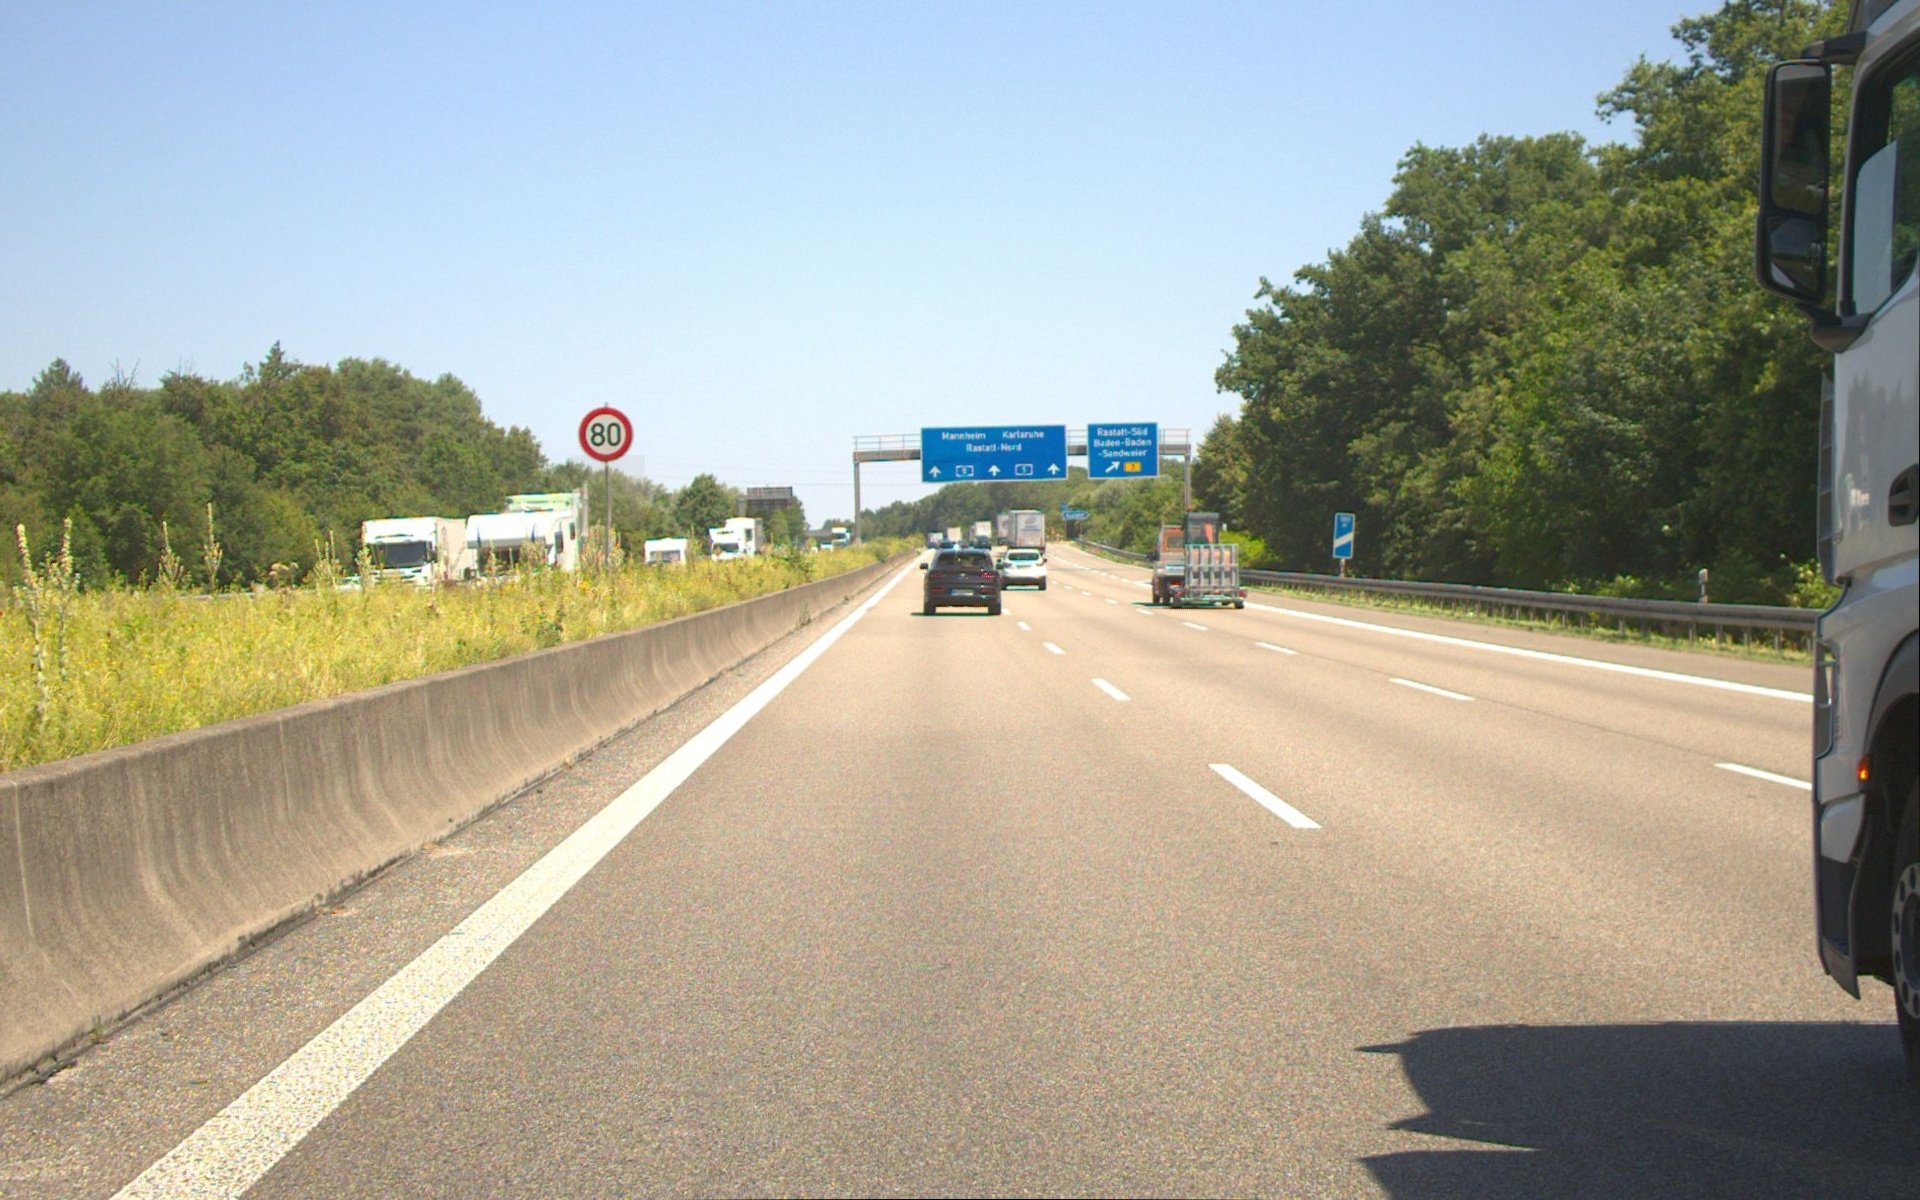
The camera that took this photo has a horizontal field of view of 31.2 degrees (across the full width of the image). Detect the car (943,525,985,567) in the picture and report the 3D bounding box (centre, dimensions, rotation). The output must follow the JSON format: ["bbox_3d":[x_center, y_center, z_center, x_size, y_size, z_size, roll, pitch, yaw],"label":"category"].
[{"bbox_3d":[0.188,-2.653,169.797,1.993,2.007,4.000,-1,1,-1],"label":"car"}]

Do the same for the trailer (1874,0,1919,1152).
[{"bbox_3d":[3.915,-0.597,1.815,2.707,4.054,14.746,0,0,-1],"label":"trailer"}]

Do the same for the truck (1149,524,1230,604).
[{"bbox_3d":[6.881,-1.110,103.590,1.993,2.365,4.645,0,1,-1],"label":"truck"}]

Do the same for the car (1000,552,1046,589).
[{"bbox_3d":[2.545,-1.193,139.710,1.740,1.481,4.000,0,1,-1],"label":"car"}]

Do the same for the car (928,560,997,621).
[{"bbox_3d":[0.043,-0.260,89.201,1.660,1.544,3.783,0,0,-2],"label":"car"}]

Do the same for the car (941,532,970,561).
[{"bbox_3d":[-0.352,-3.859,247.249,1.993,2.007,4.000,-2,0,-1],"label":"car"}]

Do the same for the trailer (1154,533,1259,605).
[{"bbox_3d":[6.991,-0.924,98.235,2.420,2.007,6.034,0,1,-1],"label":"trailer"}]

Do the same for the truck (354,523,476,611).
[{"bbox_3d":[-19.169,-1.199,121.511,2.687,2.932,10.487,-1,1,-1],"label":"truck"}]

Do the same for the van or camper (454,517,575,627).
[{"bbox_3d":[-13.136,-0.864,101.857,2.507,3.144,7.534,0,1,1],"label":"van or camper"}]

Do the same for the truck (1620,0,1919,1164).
[{"bbox_3d":[3.769,-0.615,9.092,2.700,4.080,6.453,0,0,-1],"label":"truck"}]

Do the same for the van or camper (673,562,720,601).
[{"bbox_3d":[-14.080,-1.009,183.908,2.221,2.007,5.888,0,0,-1],"label":"van or camper"}]
